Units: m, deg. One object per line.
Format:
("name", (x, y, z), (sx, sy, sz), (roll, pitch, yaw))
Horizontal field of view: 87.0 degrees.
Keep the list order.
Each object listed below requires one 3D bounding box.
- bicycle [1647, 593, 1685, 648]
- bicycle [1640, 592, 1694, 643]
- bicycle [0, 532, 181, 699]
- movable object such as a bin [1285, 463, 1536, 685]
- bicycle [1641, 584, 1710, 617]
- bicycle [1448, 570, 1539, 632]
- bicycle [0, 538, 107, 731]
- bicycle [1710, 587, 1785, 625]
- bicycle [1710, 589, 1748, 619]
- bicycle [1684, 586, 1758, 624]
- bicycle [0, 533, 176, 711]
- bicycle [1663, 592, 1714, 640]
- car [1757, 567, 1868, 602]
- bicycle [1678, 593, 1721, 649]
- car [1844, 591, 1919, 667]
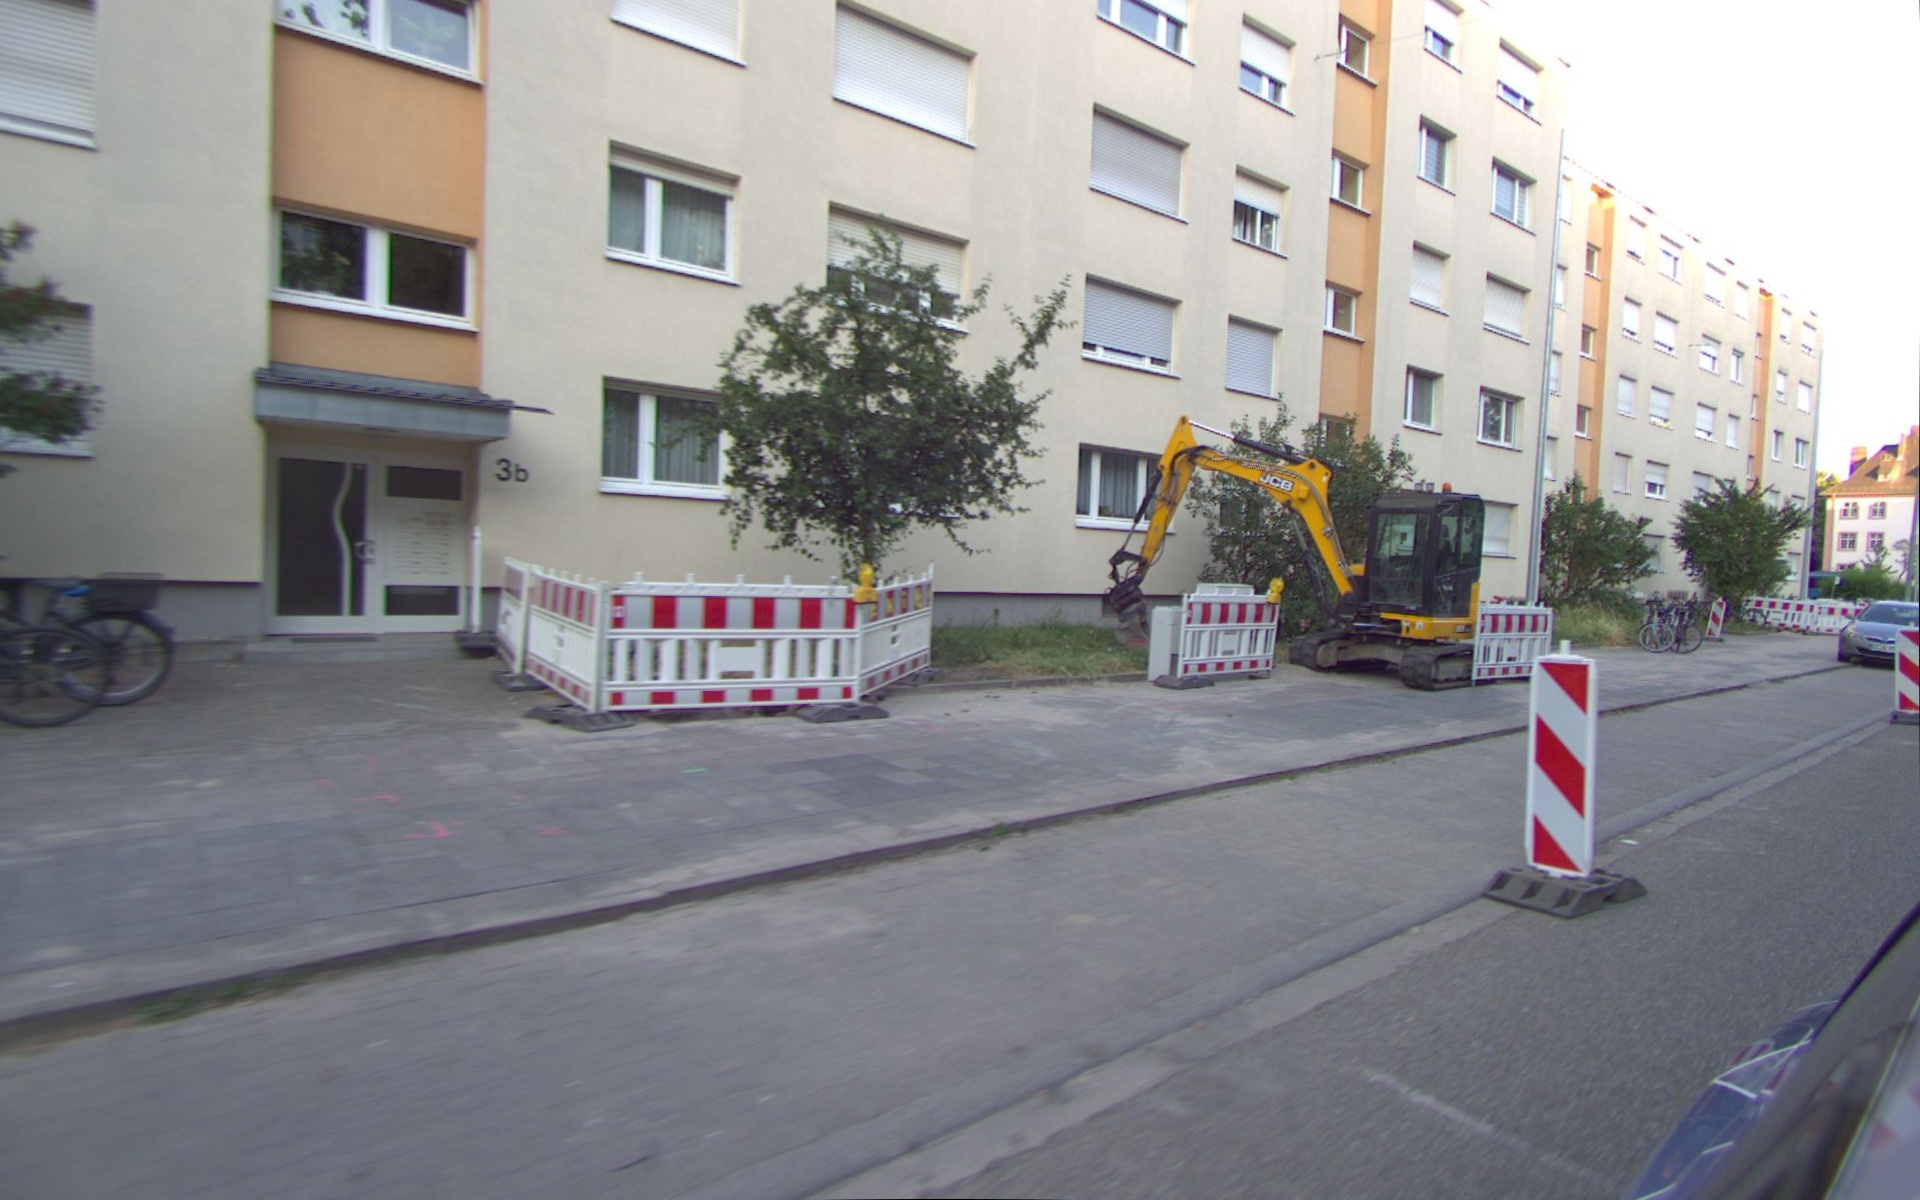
("bicycle", (16.153, 0.446, 23.179), (0.624, 1.186, 1.795), (2, 2, 33))
("bicycle", (17.364, 0.424, 24.842), (1.783, 1.186, 0.557), (0, 2, -38))
("bicycle", (-6.887, 0.100, 7.471), (1.783, 1.186, 0.557), (0, 2, -38))
("movable object such as a bin", (6.261, -0.356, 14.072), (2.837, 2.726, 1.940), (1, 2, -36))
("bicycle", (24.694, 0.003, 34.961), (1.788, 0.931, 0.557), (5, 6, 9))
("bicycle", (11.211, 0.003, 21.293), (1.593, 1.237, 0.477), (3, 2, 44))
("bicycle", (-6.377, 0.198, 6.158), (1.783, 1.186, 0.557), (0, 2, -38))
("bicycle", (26.460, 0.186, 34.029), (0.548, 1.034, 1.818), (0, 8, -39))
("bicycle", (26.929, 0.139, 35.448), (0.551, 0.874, 1.604), (7, 7, 21))
("bicycle", (24.932, 0.146, 33.203), (0.547, 0.998, 1.763), (1, 7, -31))
("bicycle", (-6.542, 0.133, 6.975), (1.783, 1.186, 0.557), (0, 2, -38))
("bicycle", (18.858, 0.411, 26.193), (1.783, 1.186, 0.557), (0, 2, -38))
("car", (55.936, -1.045, 66.505), (2.245, 2.156, 5.042), (1, 2, -32))
("bicycle", (16.857, 0.457, 23.099), (0.553, 1.186, 1.798), (2, 2, 30))
("car", (22.334, 0.656, 23.578), (4.491, 1.508, 1.782), (0, 6, -39))
